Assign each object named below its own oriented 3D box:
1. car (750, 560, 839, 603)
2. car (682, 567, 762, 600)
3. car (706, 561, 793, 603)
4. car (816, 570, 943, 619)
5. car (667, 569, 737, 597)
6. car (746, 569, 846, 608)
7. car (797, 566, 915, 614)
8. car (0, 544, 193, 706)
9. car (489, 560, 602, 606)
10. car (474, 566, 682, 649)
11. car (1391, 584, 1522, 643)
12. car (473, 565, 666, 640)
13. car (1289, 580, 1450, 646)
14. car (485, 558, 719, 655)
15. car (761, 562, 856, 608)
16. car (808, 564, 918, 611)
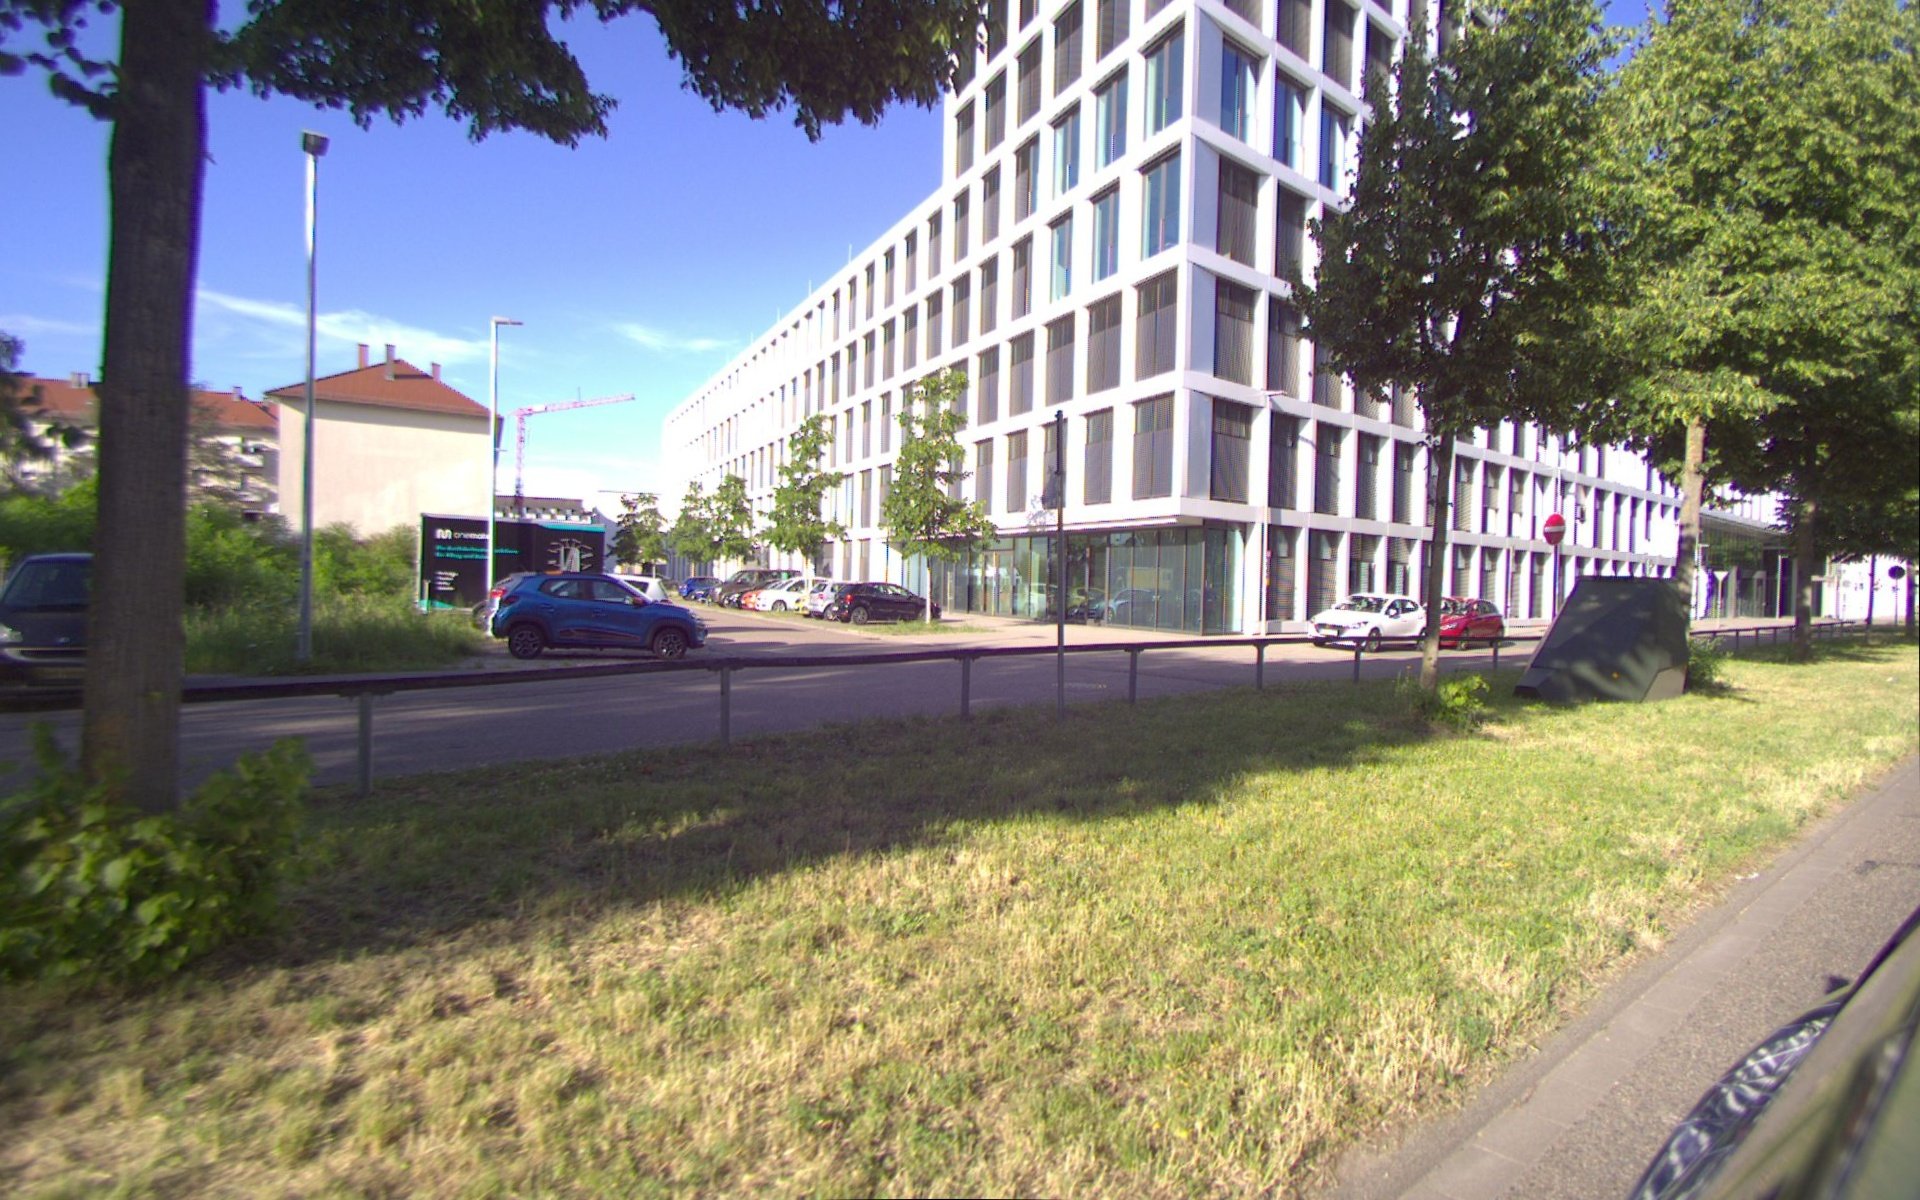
[{"bbox_3d":[-8.072,-0.890,49.384,3.917,2.039,2.003,-1,0,-25],"label":"car"},{"bbox_3d":[-12.960,-0.885,55.138,3.917,1.715,2.003,-1,0,-25],"label":"car"},{"bbox_3d":[-10.608,-0.877,50.928,3.917,2.039,2.003,-1,0,-25],"label":"car"},{"bbox_3d":[-2.777,-0.211,34.920,3.917,1.594,2.003,-1,0,-25],"label":"car"},{"bbox_3d":[-15.918,-1.055,62.486,3.917,1.715,2.003,-1,0,-25],"label":"car"},{"bbox_3d":[-7.118,-0.493,43.920,3.917,1.616,2.003,-1,0,-25],"label":"car"},{"bbox_3d":[-3.868,-0.386,37.505,3.917,1.705,2.003,-1,0,-25],"label":"car"},{"bbox_3d":[-9.616,0.181,11.231,1.433,1.568,2.779,0,3,-31],"label":"car"},{"bbox_3d":[-16.047,-0.630,39.174,3.917,1.638,2.003,2,-1,-25],"label":"car"},{"bbox_3d":[-7.694,0.116,20.531,3.800,1.555,1.755,-1,0,-22],"label":"car"},{"bbox_3d":[14.668,0.341,29.825,4.197,1.504,1.869,-1,4,-40],"label":"car"},{"bbox_3d":[-8.687,0.030,22.652,3.868,1.560,1.726,-1,0,-22],"label":"car"},{"bbox_3d":[10.936,0.283,26.929,4.321,1.503,2.000,0,4,-38],"label":"car"},{"bbox_3d":[-6.362,0.115,18.148,3.739,1.565,1.602,2,1,-21],"label":"car"},{"bbox_3d":[-7.018,-0.700,46.867,3.917,2.039,2.003,-1,0,-25],"label":"car"},{"bbox_3d":[-3.849,-0.497,40.306,3.917,1.794,2.003,-1,0,-25],"label":"car"}]
